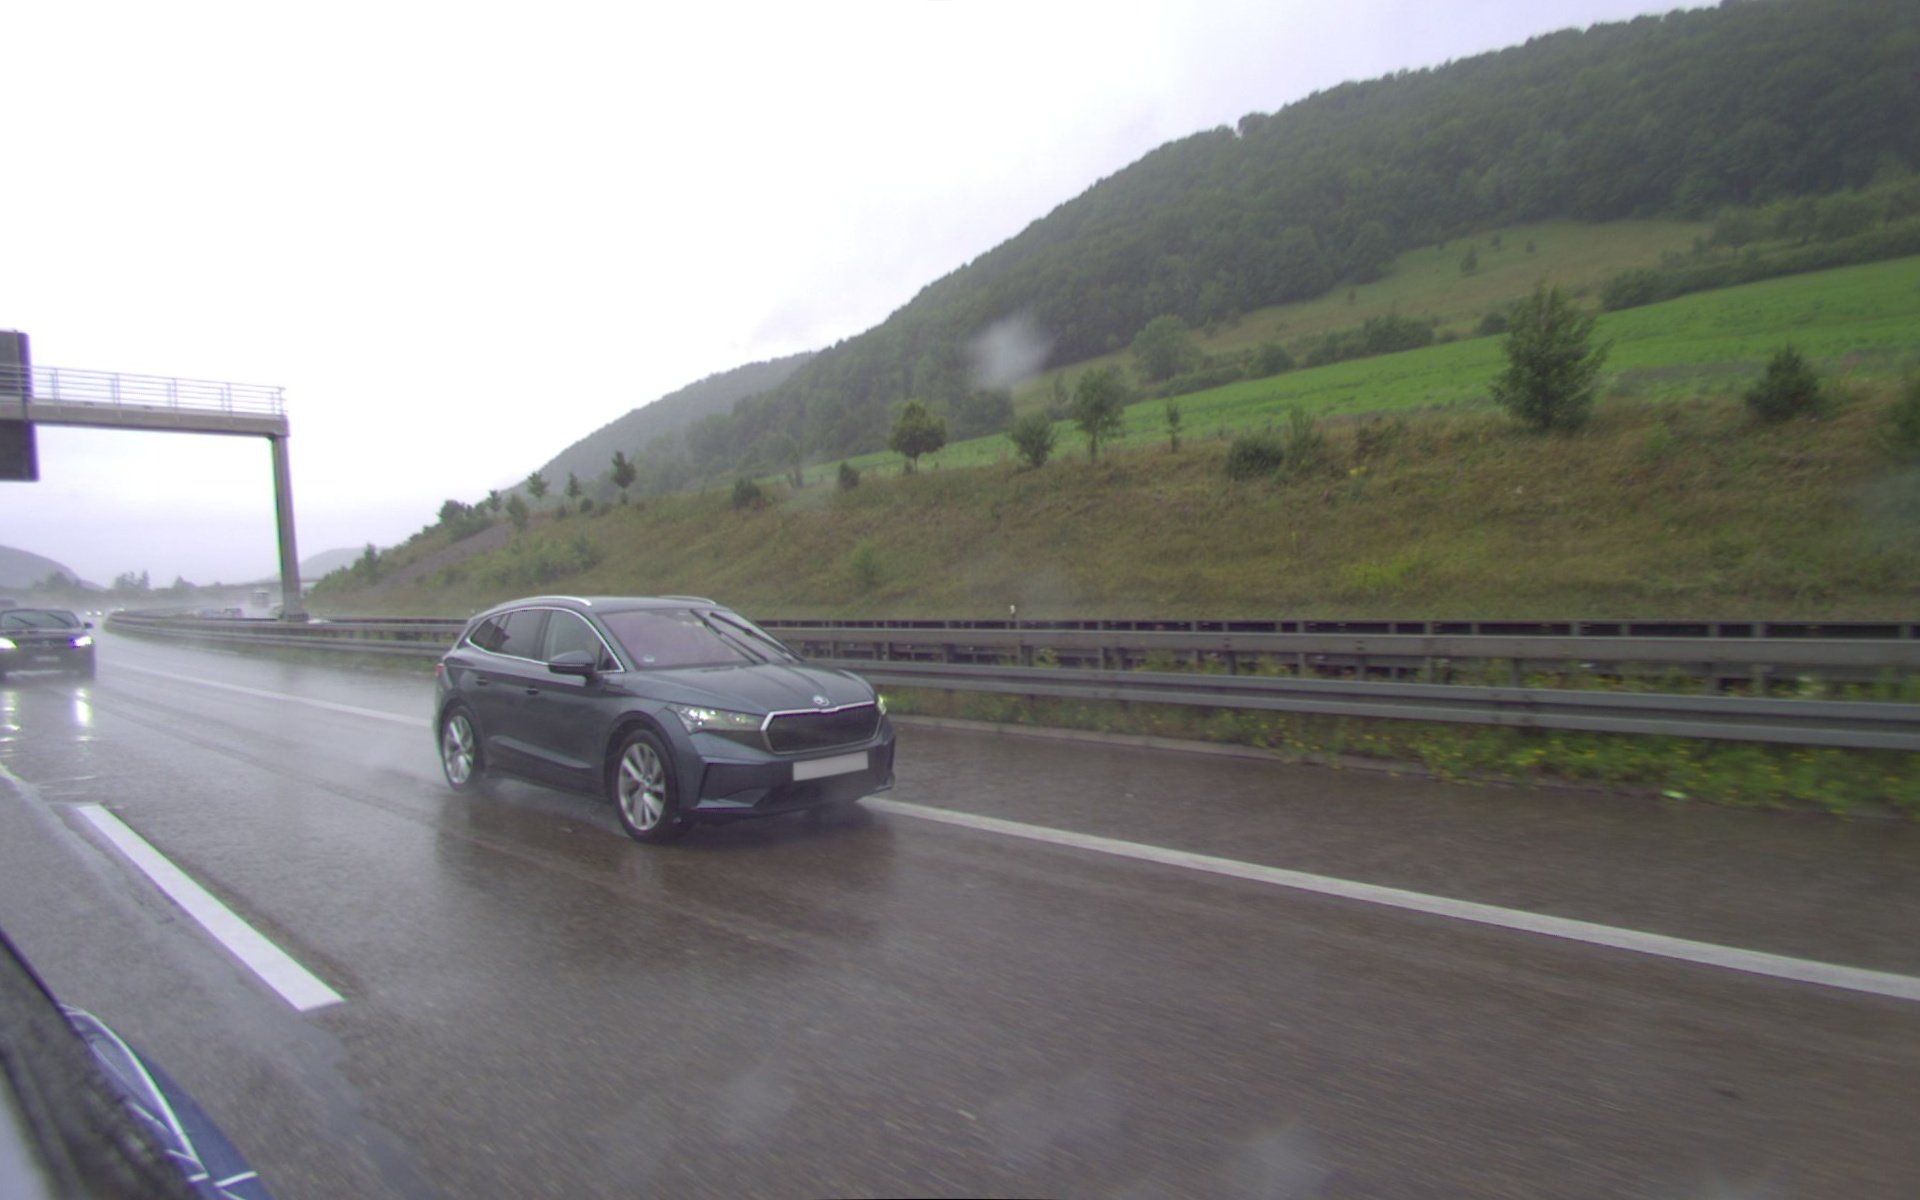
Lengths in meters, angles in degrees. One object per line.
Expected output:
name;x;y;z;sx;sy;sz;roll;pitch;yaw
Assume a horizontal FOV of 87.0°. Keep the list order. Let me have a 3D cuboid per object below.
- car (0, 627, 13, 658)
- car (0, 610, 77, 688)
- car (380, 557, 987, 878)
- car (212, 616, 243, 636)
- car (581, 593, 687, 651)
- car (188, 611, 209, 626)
car;-64.907;2.843;67.714;3.932;2.029;1.961;-2;-1;42
car;-22.831;1.135;24.523;3.750;1.715;1.790;0;2;44
car;-2.330;0.654;7.680;4.904;1.696;1.974;-1;-1;39
car;-67.844;2.383;93.753;1.755;1.704;4.003;-1;0;-44
car;-10.742;0.708;33.254;3.682;1.807;1.661;-1;-1;42
car;-90.630;2.202;120.429;1.685;1.660;4.006;-1;0;-40
